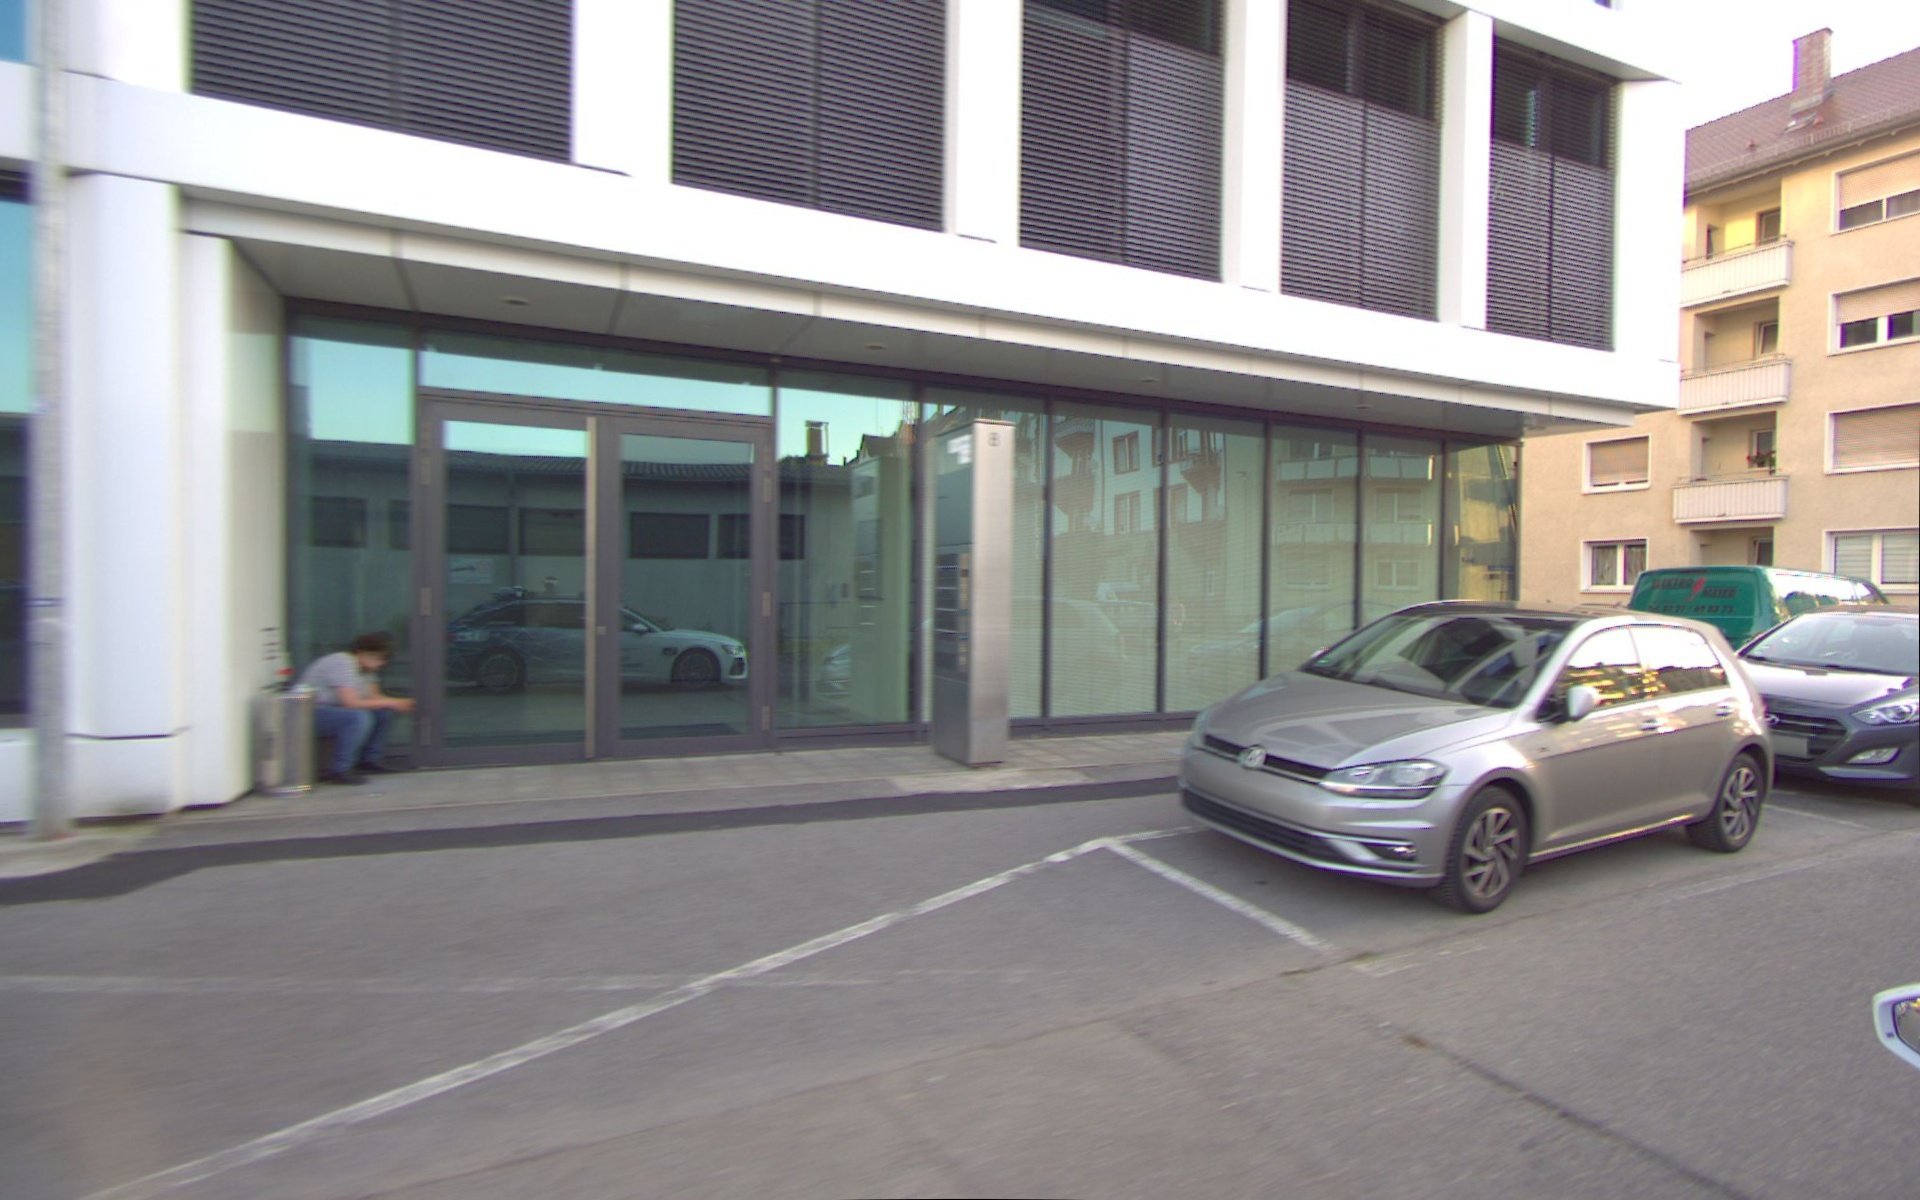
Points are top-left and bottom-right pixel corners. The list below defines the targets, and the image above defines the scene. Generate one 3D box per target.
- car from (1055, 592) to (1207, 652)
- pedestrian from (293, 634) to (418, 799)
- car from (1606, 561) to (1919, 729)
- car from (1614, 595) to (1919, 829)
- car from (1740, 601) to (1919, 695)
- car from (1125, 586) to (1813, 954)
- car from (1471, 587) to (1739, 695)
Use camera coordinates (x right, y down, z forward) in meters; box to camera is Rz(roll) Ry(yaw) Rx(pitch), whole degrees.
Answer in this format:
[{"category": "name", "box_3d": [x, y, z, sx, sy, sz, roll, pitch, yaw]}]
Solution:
[{"category": "car", "box_3d": [5.231, 0.672, 30.665, 4.409, 1.633, 1.723, 3, 0, -28]}, {"category": "pedestrian", "box_3d": [-4.057, 0.755, 6.783, 0.620, 1.032, 0.586, 1, 0, -21]}, {"category": "car", "box_3d": [11.213, 0.523, 13.920, 4.630, 2.006, 1.790, 0, 1, -28]}, {"category": "car", "box_3d": [7.854, 0.782, 8.667, 4.276, 1.499, 1.772, 0, 4, -28]}, {"category": "car", "box_3d": [18.388, 0.909, 20.094, 1.857, 1.640, 3.990, -4, 2, -28]}, {"category": "car", "box_3d": [3.180, 0.736, 6.100, 4.135, 1.499, 1.701, 0, 4, -30]}, {"category": "car", "box_3d": [10.546, 0.678, 16.376, 4.276, 1.570, 1.773, 3, 0, -28]}]
